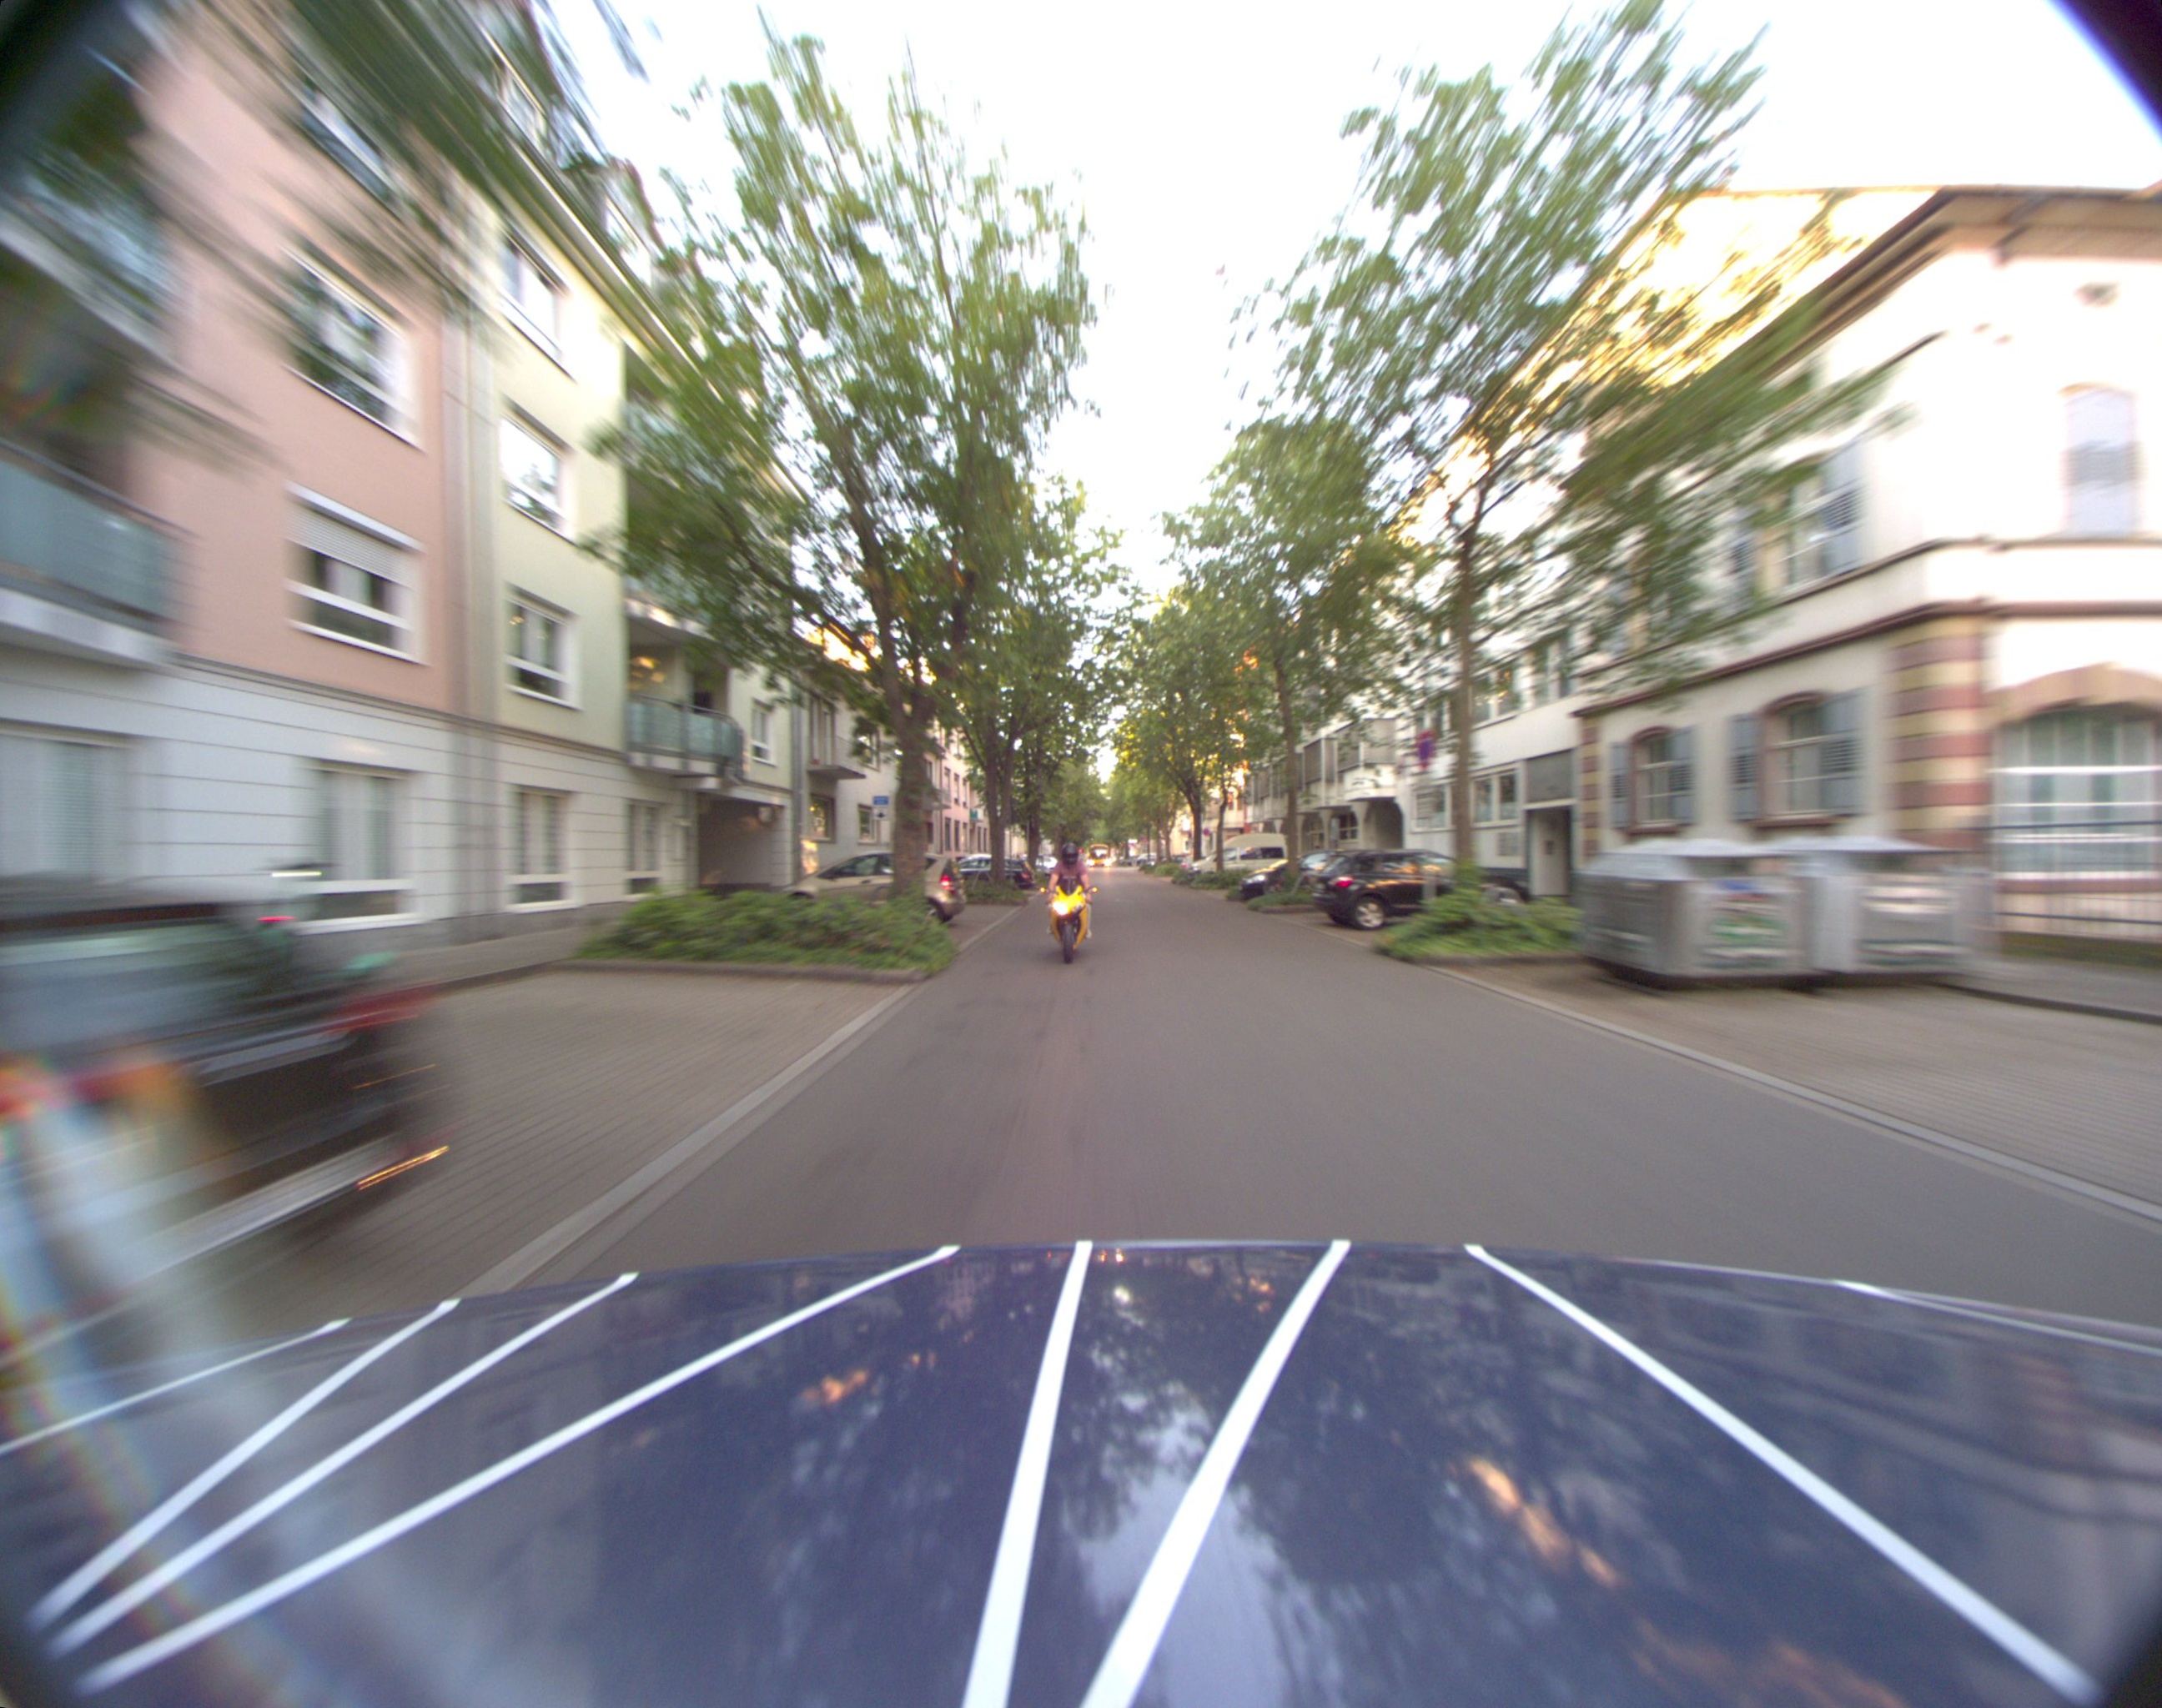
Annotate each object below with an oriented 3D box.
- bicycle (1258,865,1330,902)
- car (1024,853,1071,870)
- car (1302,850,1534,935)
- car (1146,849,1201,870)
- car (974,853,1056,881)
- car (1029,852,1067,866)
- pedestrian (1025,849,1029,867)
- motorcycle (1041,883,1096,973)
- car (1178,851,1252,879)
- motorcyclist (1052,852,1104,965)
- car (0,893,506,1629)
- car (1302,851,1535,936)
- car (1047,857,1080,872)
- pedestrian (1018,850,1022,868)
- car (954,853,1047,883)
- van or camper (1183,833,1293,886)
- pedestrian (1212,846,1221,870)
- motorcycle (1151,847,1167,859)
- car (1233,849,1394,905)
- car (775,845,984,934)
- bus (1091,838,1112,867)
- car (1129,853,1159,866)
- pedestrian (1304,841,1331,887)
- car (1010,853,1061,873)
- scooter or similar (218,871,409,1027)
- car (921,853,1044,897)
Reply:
[{"bbox_3d":[6.027,0.829,21.552,1.906,1.019,0.479,0,1,0],"label":"bicycle"},{"bbox_3d":[-2.903,0.610,66.518,3.857,1.390,1.675,1,0,4],"label":"car"},{"bbox_3d":[6.842,0.759,15.737,3.997,1.582,1.789,-1,0,1],"label":"car"},{"bbox_3d":[7.908,0.487,65.305,4.475,1.748,1.791,0,0,-2],"label":"car"},{"bbox_3d":[-3.850,0.754,44.574,4.594,1.461,1.696,1,0,2],"label":"car"},{"bbox_3d":[-3.427,0.533,80.093,3.858,1.390,1.675,1,0,1],"label":"car"},{"bbox_3d":[-6.097,0.474,85.589,0.449,2.002,0.485,0,1,1],"label":"pedestrian"},{"bbox_3d":[-0.202,1.045,11.376,0.736,1.115,2.108,-1,0,-2],"label":"motorcycle"},{"bbox_3d":[7.713,0.647,44.111,4.062,1.519,1.622,-1,0,4],"label":"car"},{"bbox_3d":[-0.053,0.781,11.347,0.722,1.605,0.915,-1,1,-2],"label":"motorcyclist"},{"bbox_3d":[-4.382,0.889,2.113,3.998,1.466,1.913,3,0,-3],"label":"car"},{"bbox_3d":[6.851,0.765,15.733,3.997,1.579,1.828,-1,0,-1],"label":"car"},{"bbox_3d":[-2.209,1.285,94.185,3.998,1.752,2.000,0,0,-2],"label":"car"},{"bbox_3d":[-6.813,0.585,85.220,0.449,2.002,0.485,0,1,1],"label":"pedestrian"},{"bbox_3d":[-4.013,0.689,38.341,4.456,1.515,1.952,0,0,2],"label":"car"},{"bbox_3d":[7.379,0.248,35.972,4.829,2.413,1.945,0,0,1],"label":"van or camper"},{"bbox_3d":[9.723,0.285,54.683,0.637,1.734,0.679,0,1,10],"label":"pedestrian"},{"bbox_3d":[8.280,-0.084,80.291,1.626,1.136,0.572,-3,1,4],"label":"motorcycle"},{"bbox_3d":[7.202,0.685,23.773,4.548,1.673,1.621,0,0,-3],"label":"car"},{"bbox_3d":[-4.167,0.715,16.168,3.872,1.657,1.926,2,0,1],"label":"car"},{"bbox_3d":[2.880,-0.212,107.767,2.833,4.086,7.832,0,0,1],"label":"bus"},{"bbox_3d":[8.285,0.726,99.894,3.858,1.623,1.675,1,0,1],"label":"car"},{"bbox_3d":[10.370,0.435,33.349,0.942,2.002,0.839,-1,1,5],"label":"pedestrian"},{"bbox_3d":[-3.490,0.688,58.417,3.859,1.390,1.674,1,0,-3],"label":"car"},{"bbox_3d":[-6.784,0.784,6.795,0.400,1.233,1.253,-1,0,1],"label":"scooter or similar"},{"bbox_3d":[-3.757,0.775,29.263,4.366,1.461,1.732,2,0,6],"label":"car"}]
